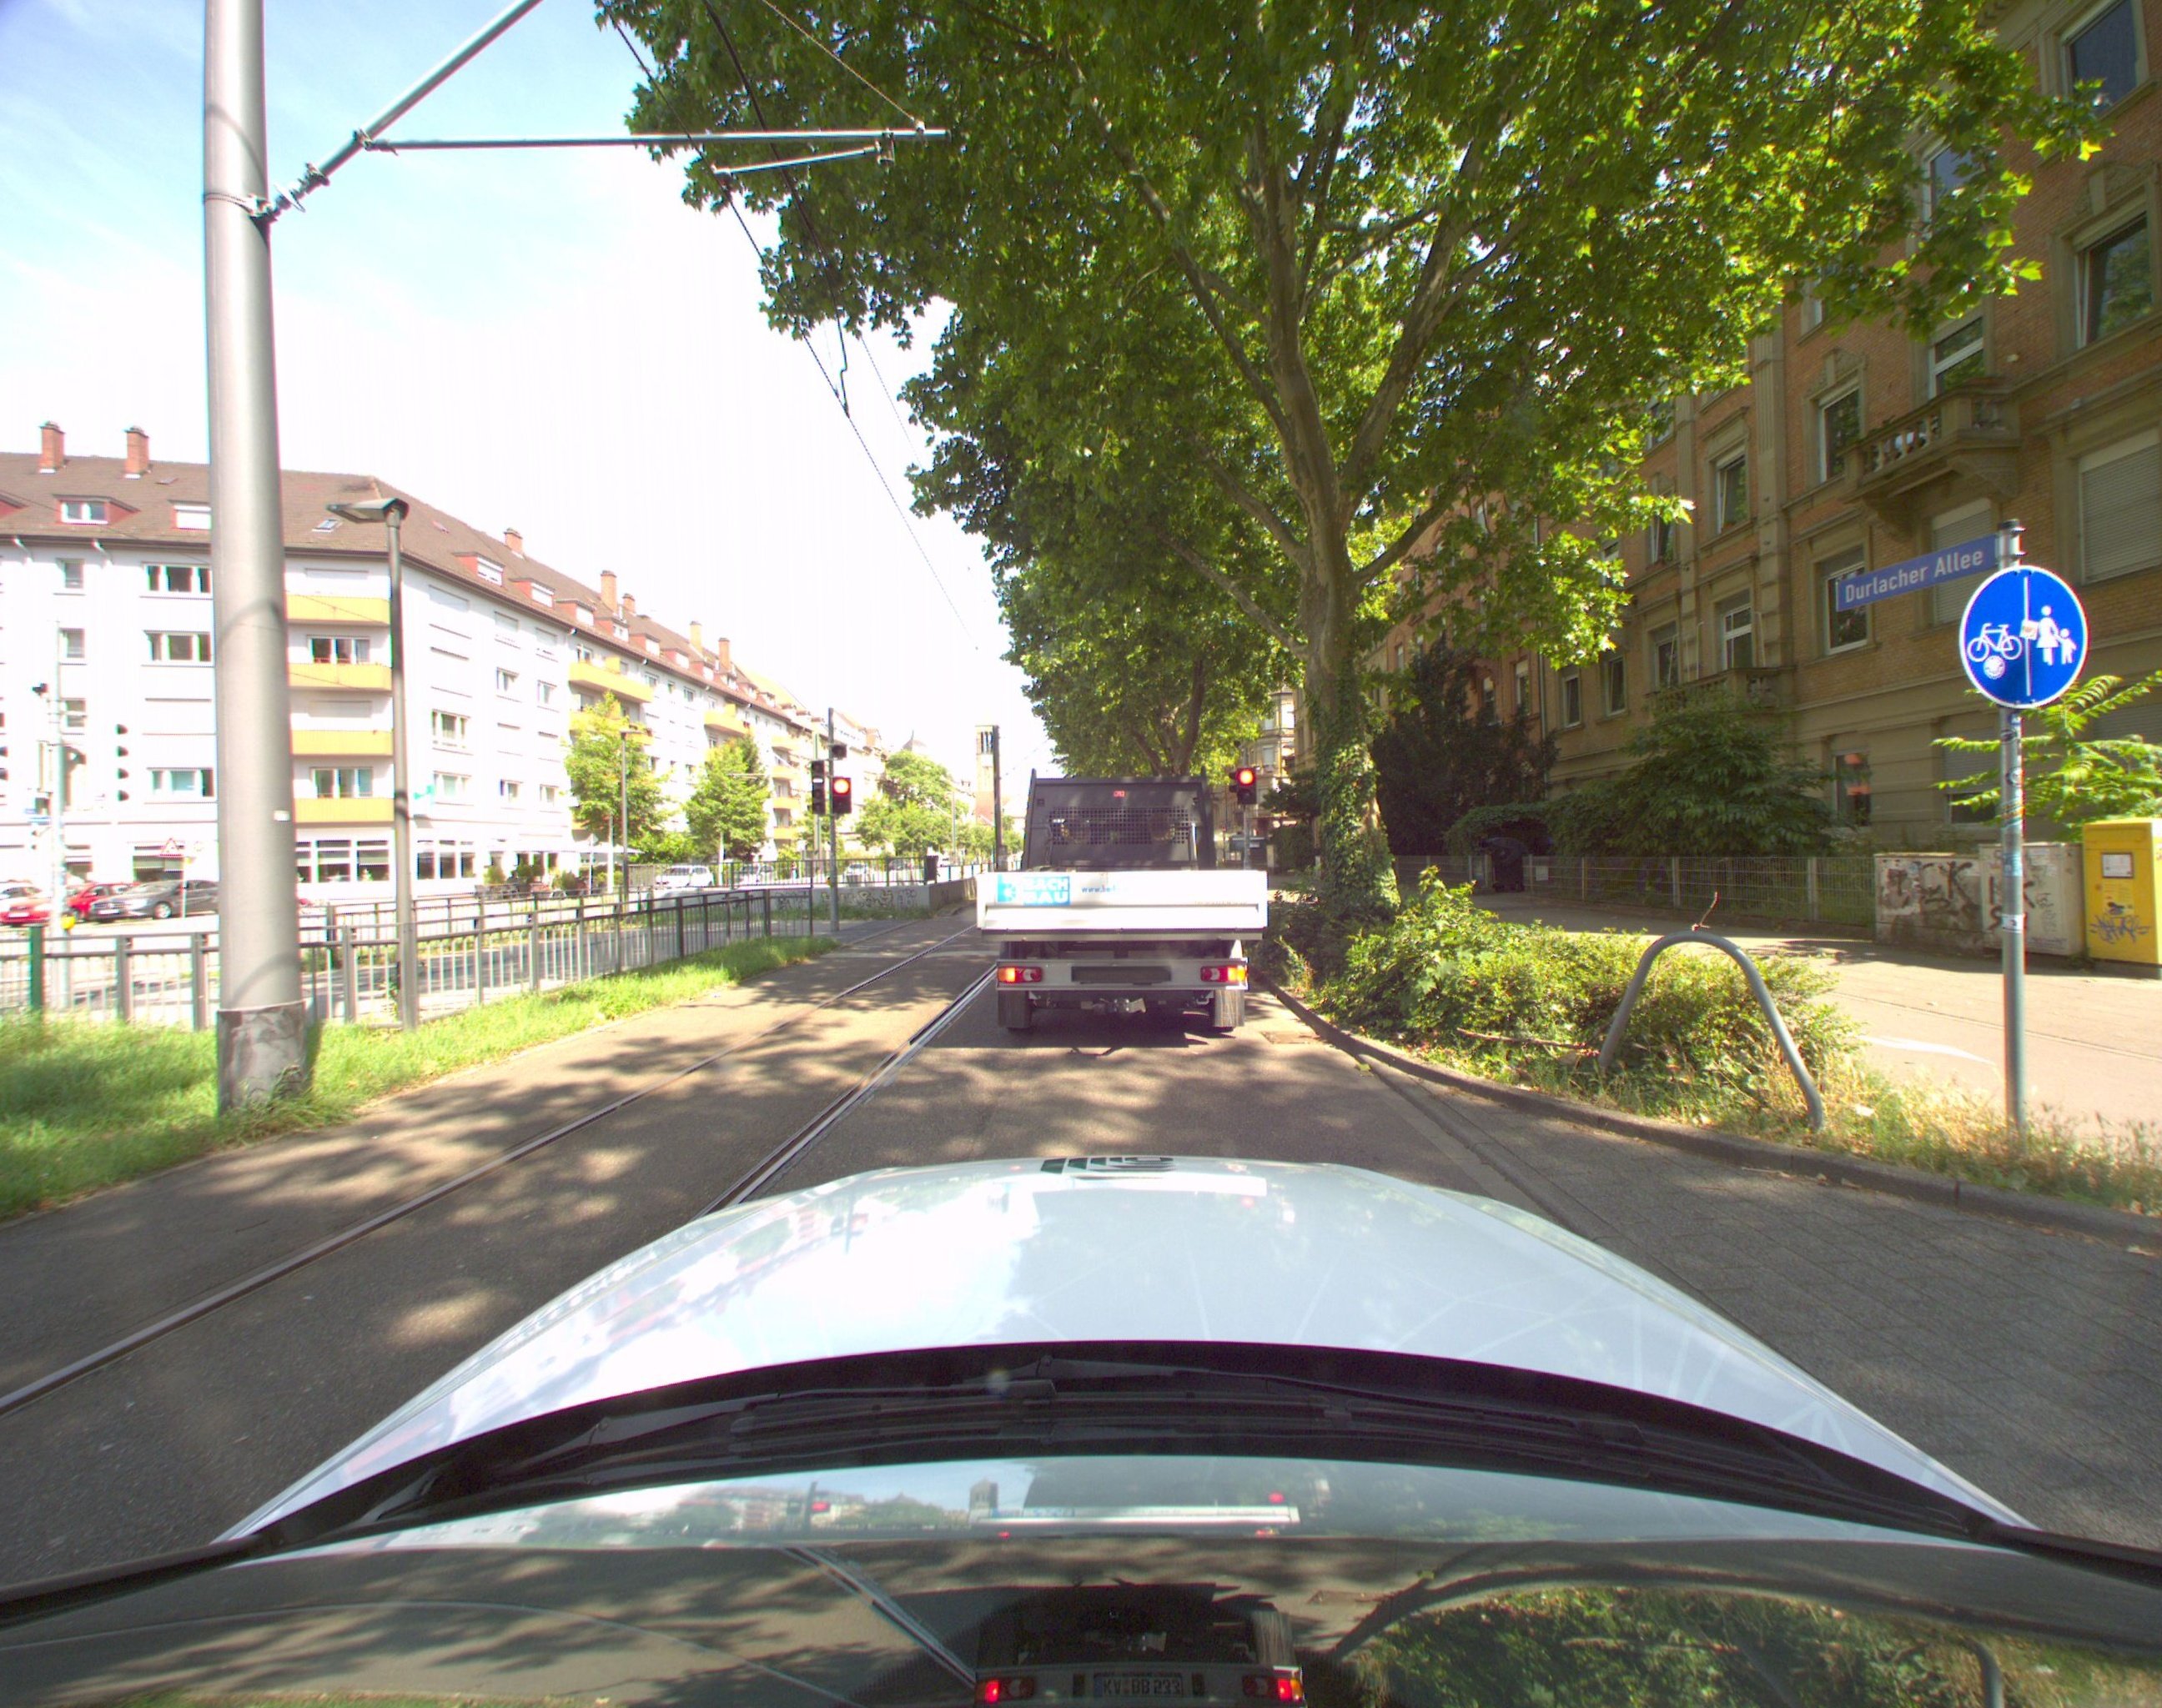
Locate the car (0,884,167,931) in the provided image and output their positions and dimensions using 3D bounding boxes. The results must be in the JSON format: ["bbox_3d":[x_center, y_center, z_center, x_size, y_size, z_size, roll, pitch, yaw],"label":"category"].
[{"bbox_3d":[-36.526,1.887,29.690,1.930,1.406,4.158,-2,0,-6],"label":"car"}]

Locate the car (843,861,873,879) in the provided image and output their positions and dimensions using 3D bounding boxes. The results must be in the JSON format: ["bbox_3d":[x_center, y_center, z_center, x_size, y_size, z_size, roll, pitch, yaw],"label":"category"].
[{"bbox_3d":[-19.590,1.368,71.792,1.767,1.498,3.994,-2,0,-4],"label":"car"}]

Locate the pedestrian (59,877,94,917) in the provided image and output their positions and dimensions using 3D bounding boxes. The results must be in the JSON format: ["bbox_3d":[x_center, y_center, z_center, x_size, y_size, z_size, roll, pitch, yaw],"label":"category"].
[{"bbox_3d":[-40.155,1.705,32.562,0.690,1.572,0.542,-1,0,-22],"label":"pedestrian"}]

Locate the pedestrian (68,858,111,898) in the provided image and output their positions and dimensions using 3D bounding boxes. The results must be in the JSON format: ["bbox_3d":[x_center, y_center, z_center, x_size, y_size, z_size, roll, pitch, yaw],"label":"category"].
[{"bbox_3d":[-40.375,0.971,33.185,0.861,1.572,0.685,-1,0,-22],"label":"pedestrian"}]

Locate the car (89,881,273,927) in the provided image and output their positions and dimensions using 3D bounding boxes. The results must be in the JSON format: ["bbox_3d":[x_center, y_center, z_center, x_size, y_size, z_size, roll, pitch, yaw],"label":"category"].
[{"bbox_3d":[-33.167,1.795,30.262,1.830,1.376,4.637,-2,0,-4],"label":"car"}]

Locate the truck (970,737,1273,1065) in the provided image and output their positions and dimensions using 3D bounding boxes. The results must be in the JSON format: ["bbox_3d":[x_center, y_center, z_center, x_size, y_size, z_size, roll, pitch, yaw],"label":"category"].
[{"bbox_3d":[0.389,0.341,8.038,2.130,2.319,4.404,-1,0,3],"label":"truck"}]

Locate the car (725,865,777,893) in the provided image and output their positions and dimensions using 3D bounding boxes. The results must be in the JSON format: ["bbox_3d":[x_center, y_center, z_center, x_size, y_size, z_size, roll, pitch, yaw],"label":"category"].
[{"bbox_3d":[-20.314,1.523,50.279,1.767,1.498,3.994,-3,0,-4],"label":"car"}]

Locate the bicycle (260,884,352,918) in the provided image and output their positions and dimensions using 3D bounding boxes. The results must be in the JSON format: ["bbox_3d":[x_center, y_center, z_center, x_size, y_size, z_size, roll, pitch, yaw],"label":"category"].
[{"bbox_3d":[-30.103,1.786,31.725,0.908,1.137,2.807,-2,0,-1],"label":"bicycle"}]

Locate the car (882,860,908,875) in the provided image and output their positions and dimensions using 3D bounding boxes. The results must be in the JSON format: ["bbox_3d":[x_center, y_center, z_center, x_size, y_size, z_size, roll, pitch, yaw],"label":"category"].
[{"bbox_3d":[-19.447,1.394,85.288,1.764,1.498,4.000,-2,0,0],"label":"car"}]

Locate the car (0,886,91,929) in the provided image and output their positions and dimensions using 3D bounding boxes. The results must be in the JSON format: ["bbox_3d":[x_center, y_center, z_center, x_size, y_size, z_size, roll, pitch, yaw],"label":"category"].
[{"bbox_3d":[-39.314,1.972,29.522,1.930,1.406,4.158,-2,0,-6],"label":"car"}]

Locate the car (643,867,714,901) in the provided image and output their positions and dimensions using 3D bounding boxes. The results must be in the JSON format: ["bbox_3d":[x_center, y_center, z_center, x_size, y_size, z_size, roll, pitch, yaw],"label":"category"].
[{"bbox_3d":[-20.533,1.509,41.697,1.767,1.498,3.994,-3,0,-4],"label":"car"}]

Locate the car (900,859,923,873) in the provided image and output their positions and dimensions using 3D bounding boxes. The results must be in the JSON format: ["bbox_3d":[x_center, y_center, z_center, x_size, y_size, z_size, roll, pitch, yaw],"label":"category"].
[{"bbox_3d":[-19.365,1.408,93.129,1.764,1.498,4.000,-2,0,0],"label":"car"}]
